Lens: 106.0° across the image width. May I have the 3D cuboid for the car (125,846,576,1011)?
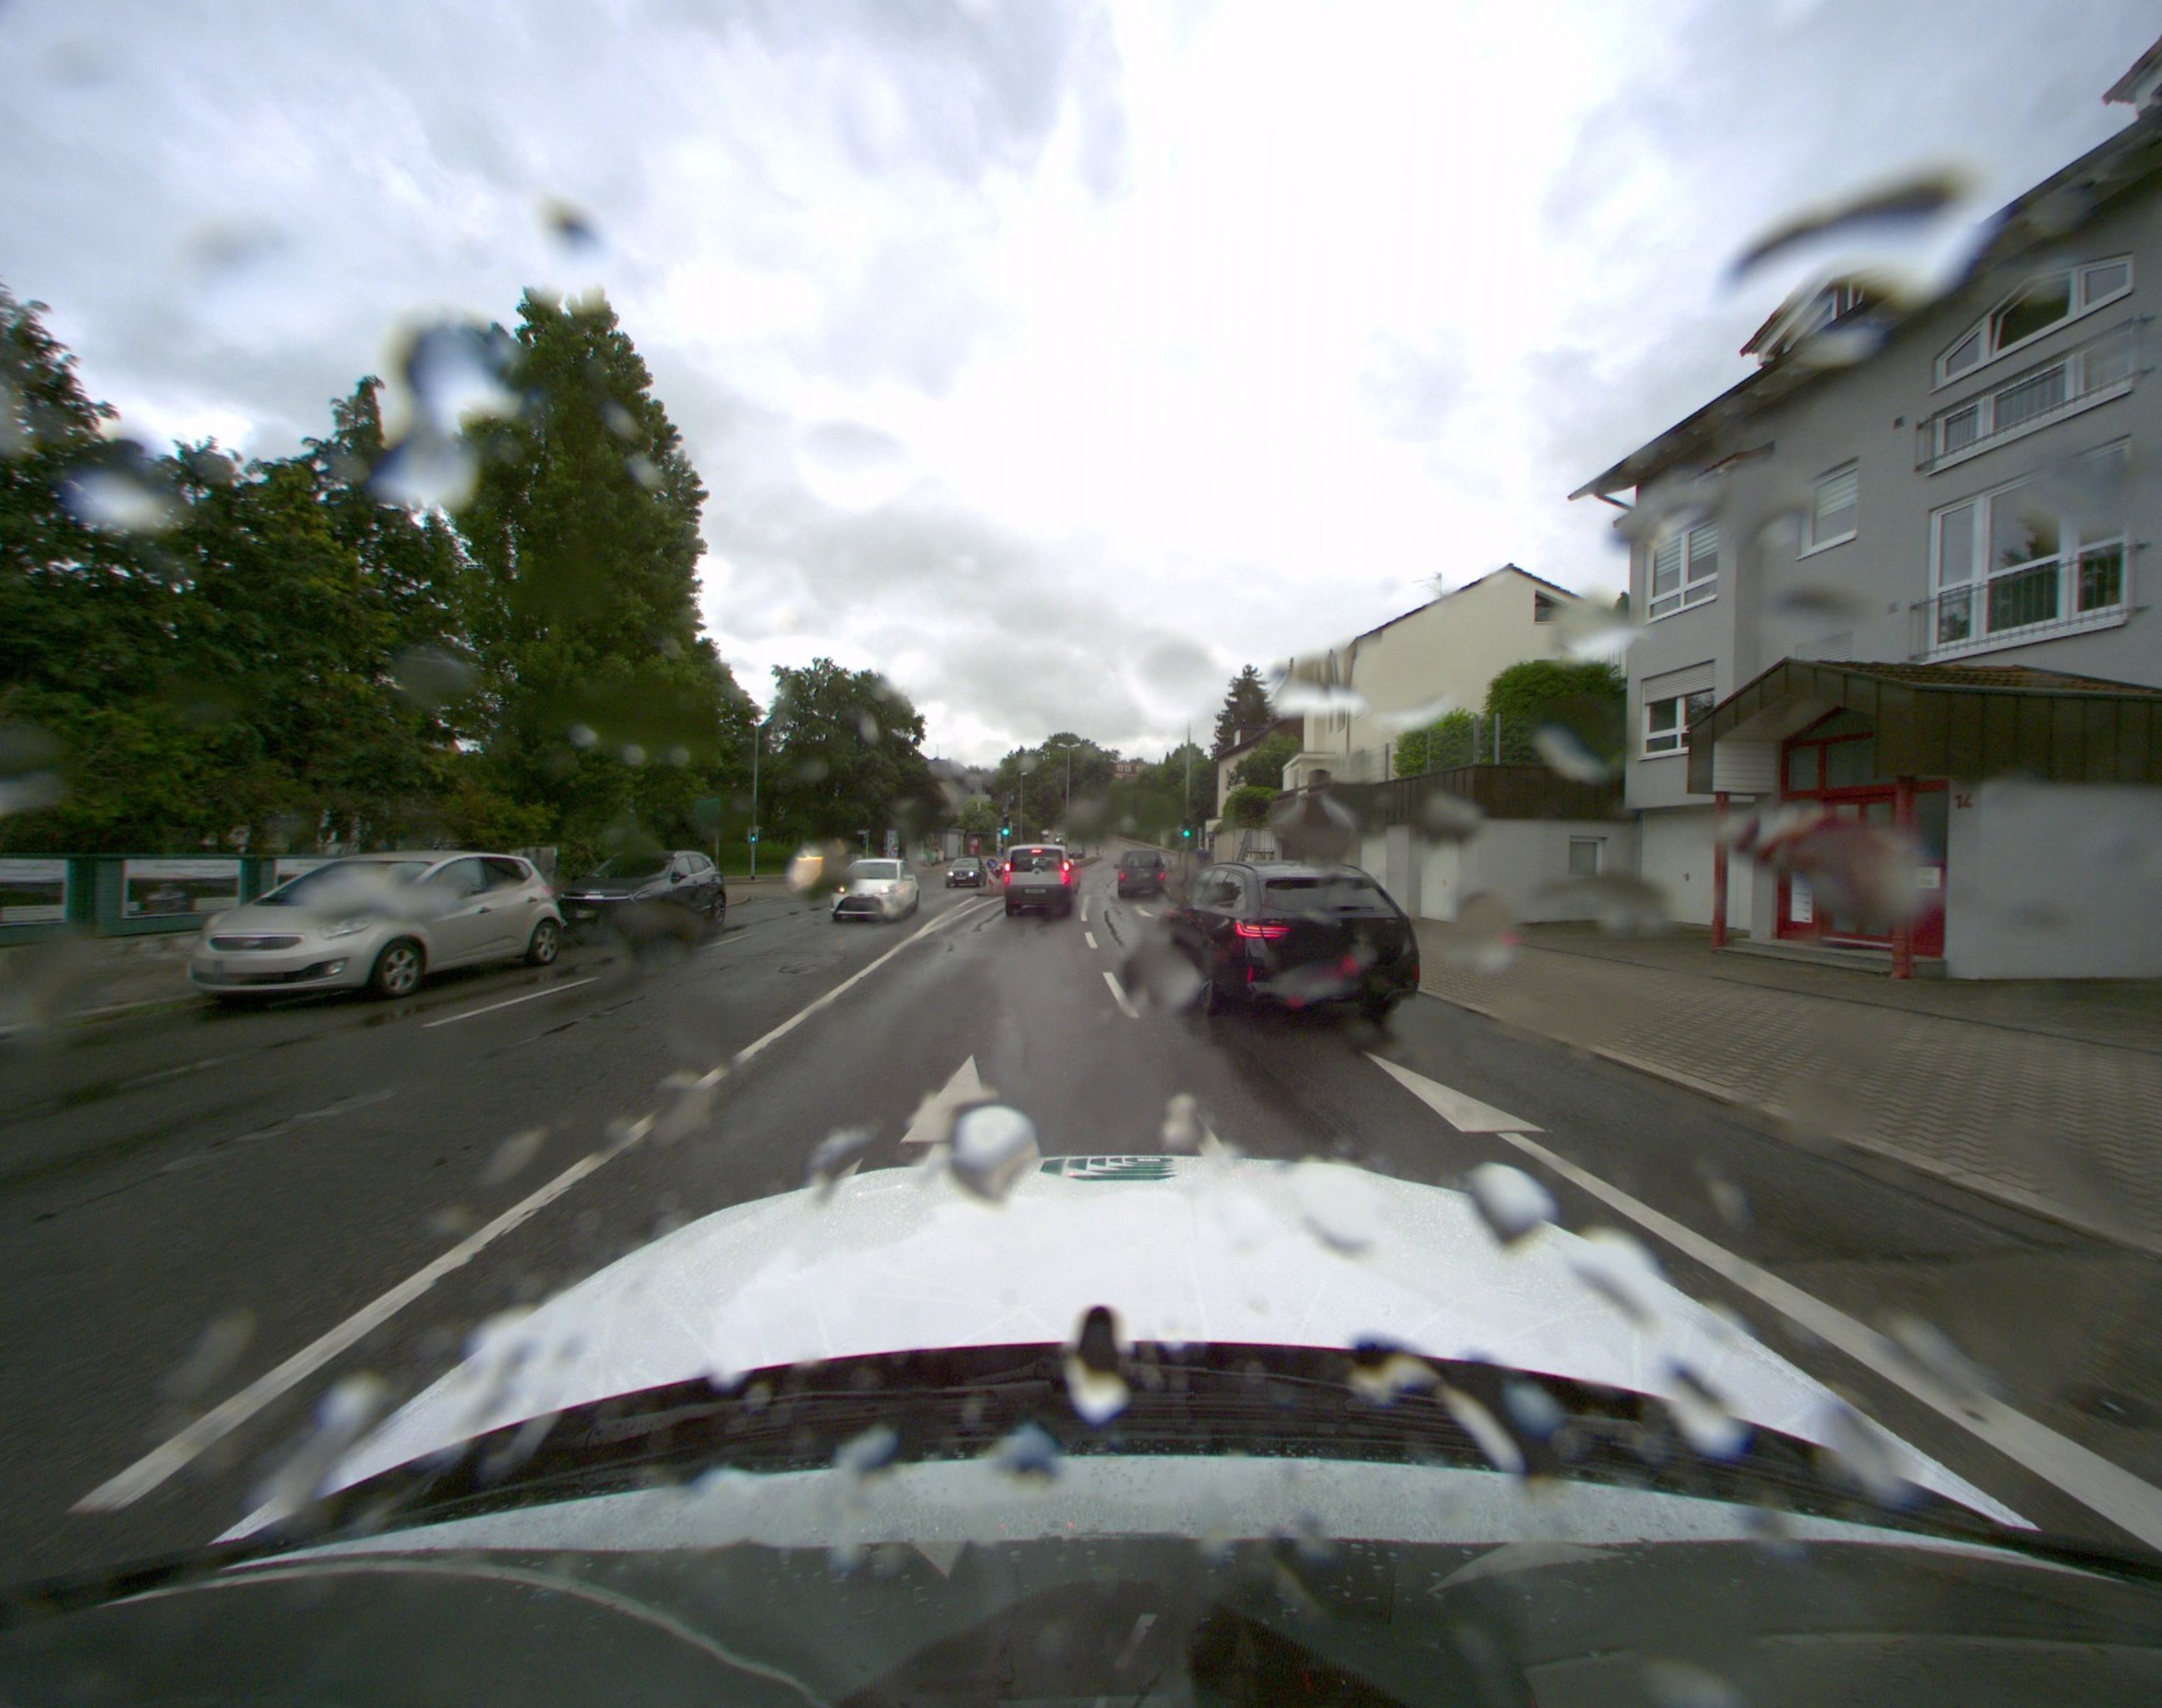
[{"bbox_3d":[-8.242,0.728,9.850,1.800,1.568,4.139,0,-1,-3],"label":"car"}]

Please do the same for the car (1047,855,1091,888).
[{"bbox_3d":[-0.527,0.802,39.204,1.827,1.487,4.062,0,0,3],"label":"car"}]

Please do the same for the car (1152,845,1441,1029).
[{"bbox_3d":[2.128,0.851,9.535,1.989,1.586,4.657,2,-3,-2],"label":"car"}]

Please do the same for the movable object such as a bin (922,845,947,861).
[{"bbox_3d":[-14.148,-0.069,78.753,2.046,1.514,1.347,0,2,8],"label":"movable object such as a bin"}]

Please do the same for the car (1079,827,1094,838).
[{"bbox_3d":[1.105,-4.085,157.475,1.996,2.013,3.982,-1,0,-13],"label":"car"}]

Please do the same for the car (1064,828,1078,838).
[{"bbox_3d":[-1.833,-3.701,142.643,1.840,1.552,4.371,-1,0,-9],"label":"car"}]

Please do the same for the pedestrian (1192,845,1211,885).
[{"bbox_3d":[5.584,0.511,37.801,0.790,1.780,1.012,-1,-1,3],"label":"pedestrian"}]

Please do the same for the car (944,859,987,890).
[{"bbox_3d":[-5.905,1.015,41.945,1.707,1.503,3.998,0,0,-1],"label":"car"}]

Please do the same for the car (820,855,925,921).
[{"bbox_3d":[-5.306,0.797,21.206,1.828,1.530,3.996,-1,0,-3],"label":"car"}]

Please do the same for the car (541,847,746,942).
[{"bbox_3d":[-8.582,0.730,16.525,1.800,1.669,4.594,0,-1,-2],"label":"car"}]

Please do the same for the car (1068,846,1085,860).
[{"bbox_3d":[-0.518,-0.081,94.662,1.987,1.574,3.998,0,-1,-1],"label":"car"}]

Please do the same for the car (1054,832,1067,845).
[{"bbox_3d":[-3.281,-2.474,132.086,1.987,2.013,3.999,-1,0,0],"label":"car"}]

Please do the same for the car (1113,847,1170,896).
[{"bbox_3d":[2.281,0.641,31.632,1.986,1.748,4.001,-1,0,1],"label":"car"}]

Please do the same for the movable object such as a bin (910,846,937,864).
[{"bbox_3d":[-14.599,0.103,75.705,2.046,1.568,1.585,0,2,8],"label":"movable object such as a bin"}]

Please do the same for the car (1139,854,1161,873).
[{"bbox_3d":[6.571,0.923,78.042,1.844,1.661,4.002,1,1,2],"label":"car"}]

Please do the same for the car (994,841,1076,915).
[{"bbox_3d":[-1.186,0.615,23.069,1.944,1.871,4.747,-1,0,1],"label":"car"}]

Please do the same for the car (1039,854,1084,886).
[{"bbox_3d":[-0.947,0.778,41.577,1.900,1.528,4.656,0,0,3],"label":"car"}]

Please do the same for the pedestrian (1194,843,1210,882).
[{"bbox_3d":[6.414,0.436,43.091,0.793,2.014,0.735,0,-1,3],"label":"pedestrian"}]

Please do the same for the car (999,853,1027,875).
[{"bbox_3d":[-4.637,0.660,56.284,1.849,1.464,3.995,0,0,-4],"label":"car"}]

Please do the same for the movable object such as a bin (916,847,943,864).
[{"bbox_3d":[-14.380,0.123,77.294,2.046,1.568,1.585,0,2,8],"label":"movable object such as a bin"}]
